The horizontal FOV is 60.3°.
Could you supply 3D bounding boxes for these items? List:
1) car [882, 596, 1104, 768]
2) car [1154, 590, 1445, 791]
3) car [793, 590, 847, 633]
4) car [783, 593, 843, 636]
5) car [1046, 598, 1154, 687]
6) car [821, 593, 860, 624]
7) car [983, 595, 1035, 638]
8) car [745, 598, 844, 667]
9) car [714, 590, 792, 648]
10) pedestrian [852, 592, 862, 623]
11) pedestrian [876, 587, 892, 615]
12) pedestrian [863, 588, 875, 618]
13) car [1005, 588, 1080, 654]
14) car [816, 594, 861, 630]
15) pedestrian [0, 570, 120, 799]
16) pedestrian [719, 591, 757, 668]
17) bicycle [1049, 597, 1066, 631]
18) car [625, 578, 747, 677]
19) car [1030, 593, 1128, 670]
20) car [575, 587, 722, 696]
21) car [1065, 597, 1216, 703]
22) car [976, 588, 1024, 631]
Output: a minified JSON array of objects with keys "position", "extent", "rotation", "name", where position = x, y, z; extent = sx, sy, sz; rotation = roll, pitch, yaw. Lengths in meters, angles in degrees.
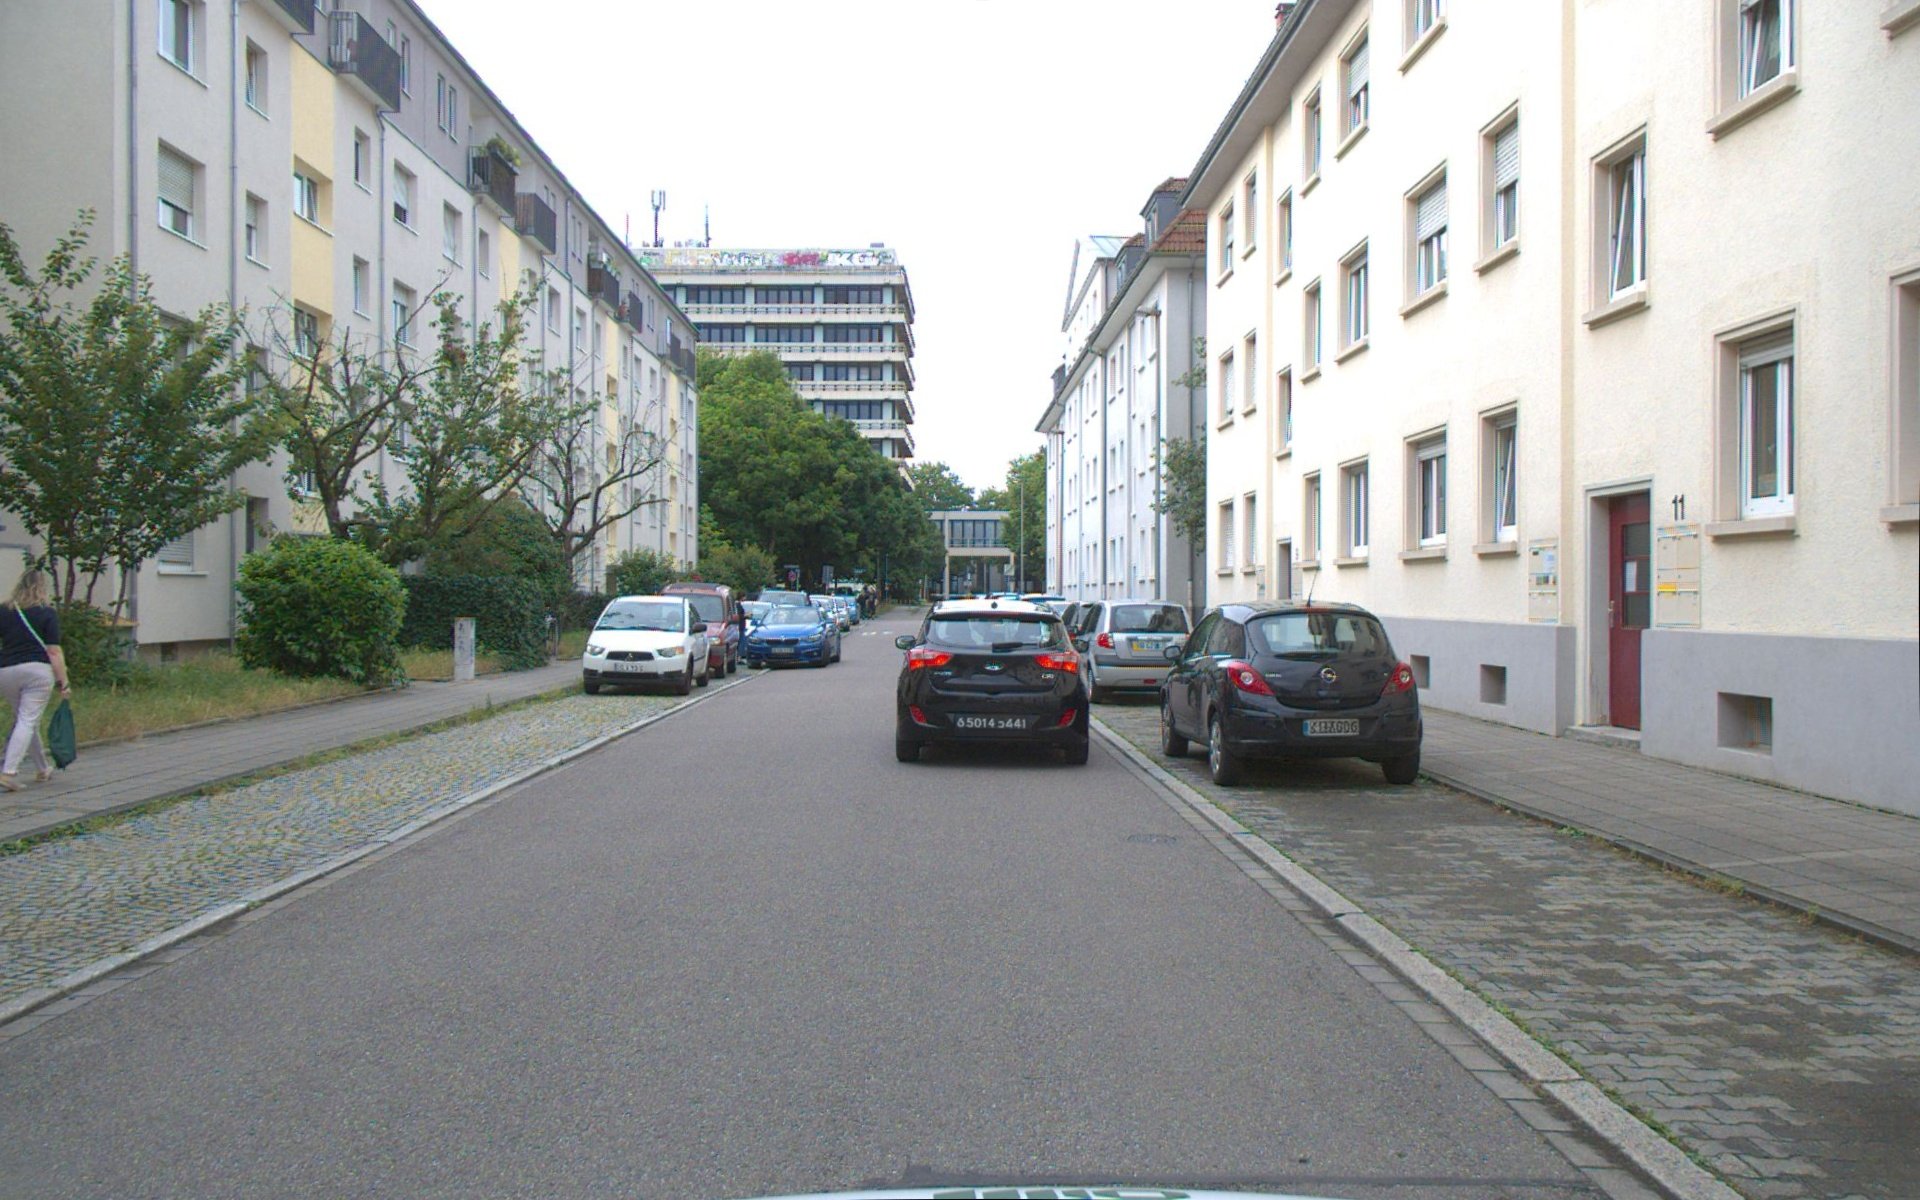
[{"position":[0.457,0.700,16.257],"extent":[1.863,1.458,4.235],"rotation":[0,0,5],"name":"car"},{"position":[2.873,0.688,14.844],"extent":[1.690,1.544,4.059],"rotation":[0,0,-1],"name":"car"},{"position":[-5.702,0.434,67.717],"extent":[1.856,1.626,4.520],"rotation":[2,0,-1],"name":"car"},{"position":[-5.443,0.514,61.552],"extent":[1.856,1.477,4.520],"rotation":[2,0,-1],"name":"car"},{"position":[2.522,0.731,30.522],"extent":[1.570,1.502,3.868],"rotation":[1,0,-1],"name":"car"},{"position":[-6.366,0.439,88.331],"extent":[1.954,1.568,3.997],"rotation":[1,0,-3],"name":"car"},{"position":[1.760,0.588,60.533],"extent":[1.783,1.529,4.090],"rotation":[0,0,0],"name":"car"},{"position":[-3.739,0.698,38.112],"extent":[1.807,1.476,4.501],"rotation":[1,0,0],"name":"car"},{"position":[-5.528,0.474,44.533],"extent":[1.709,1.490,3.785],"rotation":[0,0,-1],"name":"car"},{"position":[-6.308,0.447,101.322],"extent":[0.592,1.863,0.675],"rotation":[0,0,1],"name":"pedestrian"},{"position":[-4.635,0.078,101.141],"extent":[0.952,1.683,0.980],"rotation":[0,0,0],"name":"pedestrian"},{"position":[-5.570,0.173,101.206],"extent":[0.699,1.863,0.797],"rotation":[0,0,1],"name":"pedestrian"},{"position":[2.174,0.525,44.405],"extent":[1.783,1.671,4.091],"rotation":[1,0,0],"name":"car"},{"position":[-5.557,0.521,76.048],"extent":[1.954,1.568,3.997],"rotation":[1,0,-3],"name":"car"},{"position":[-6.870,0.602,12.325],"extent":[0.784,1.638,0.946],"rotation":[0,0,-6],"name":"pedestrian"},{"position":[-5.104,0.668,38.035],"extent":[0.729,1.731,0.792],"rotation":[-1,0,-19],"name":"pedestrian"},{"position":[3.488,0.488,58.852],"extent":[0.519,1.196,2.038],"rotation":[-1,0,5],"name":"bicycle"},{"position":[-5.361,0.497,32.877],"extent":[1.917,1.801,4.359],"rotation":[1,0,-3],"name":"car"},{"position":[2.472,0.616,35.280],"extent":[1.690,1.502,4.504],"rotation":[1,0,-1],"name":"car"},{"position":[-5.002,0.627,27.048],"extent":[1.686,1.597,3.869],"rotation":[2,0,-1],"name":"car"},{"position":[2.643,0.697,25.036],"extent":[1.811,1.475,3.832],"rotation":[0,0,-1],"name":"car"},{"position":[1.554,0.358,65.337],"extent":[1.783,1.631,4.091],"rotation":[0,0,0],"name":"car"}]
